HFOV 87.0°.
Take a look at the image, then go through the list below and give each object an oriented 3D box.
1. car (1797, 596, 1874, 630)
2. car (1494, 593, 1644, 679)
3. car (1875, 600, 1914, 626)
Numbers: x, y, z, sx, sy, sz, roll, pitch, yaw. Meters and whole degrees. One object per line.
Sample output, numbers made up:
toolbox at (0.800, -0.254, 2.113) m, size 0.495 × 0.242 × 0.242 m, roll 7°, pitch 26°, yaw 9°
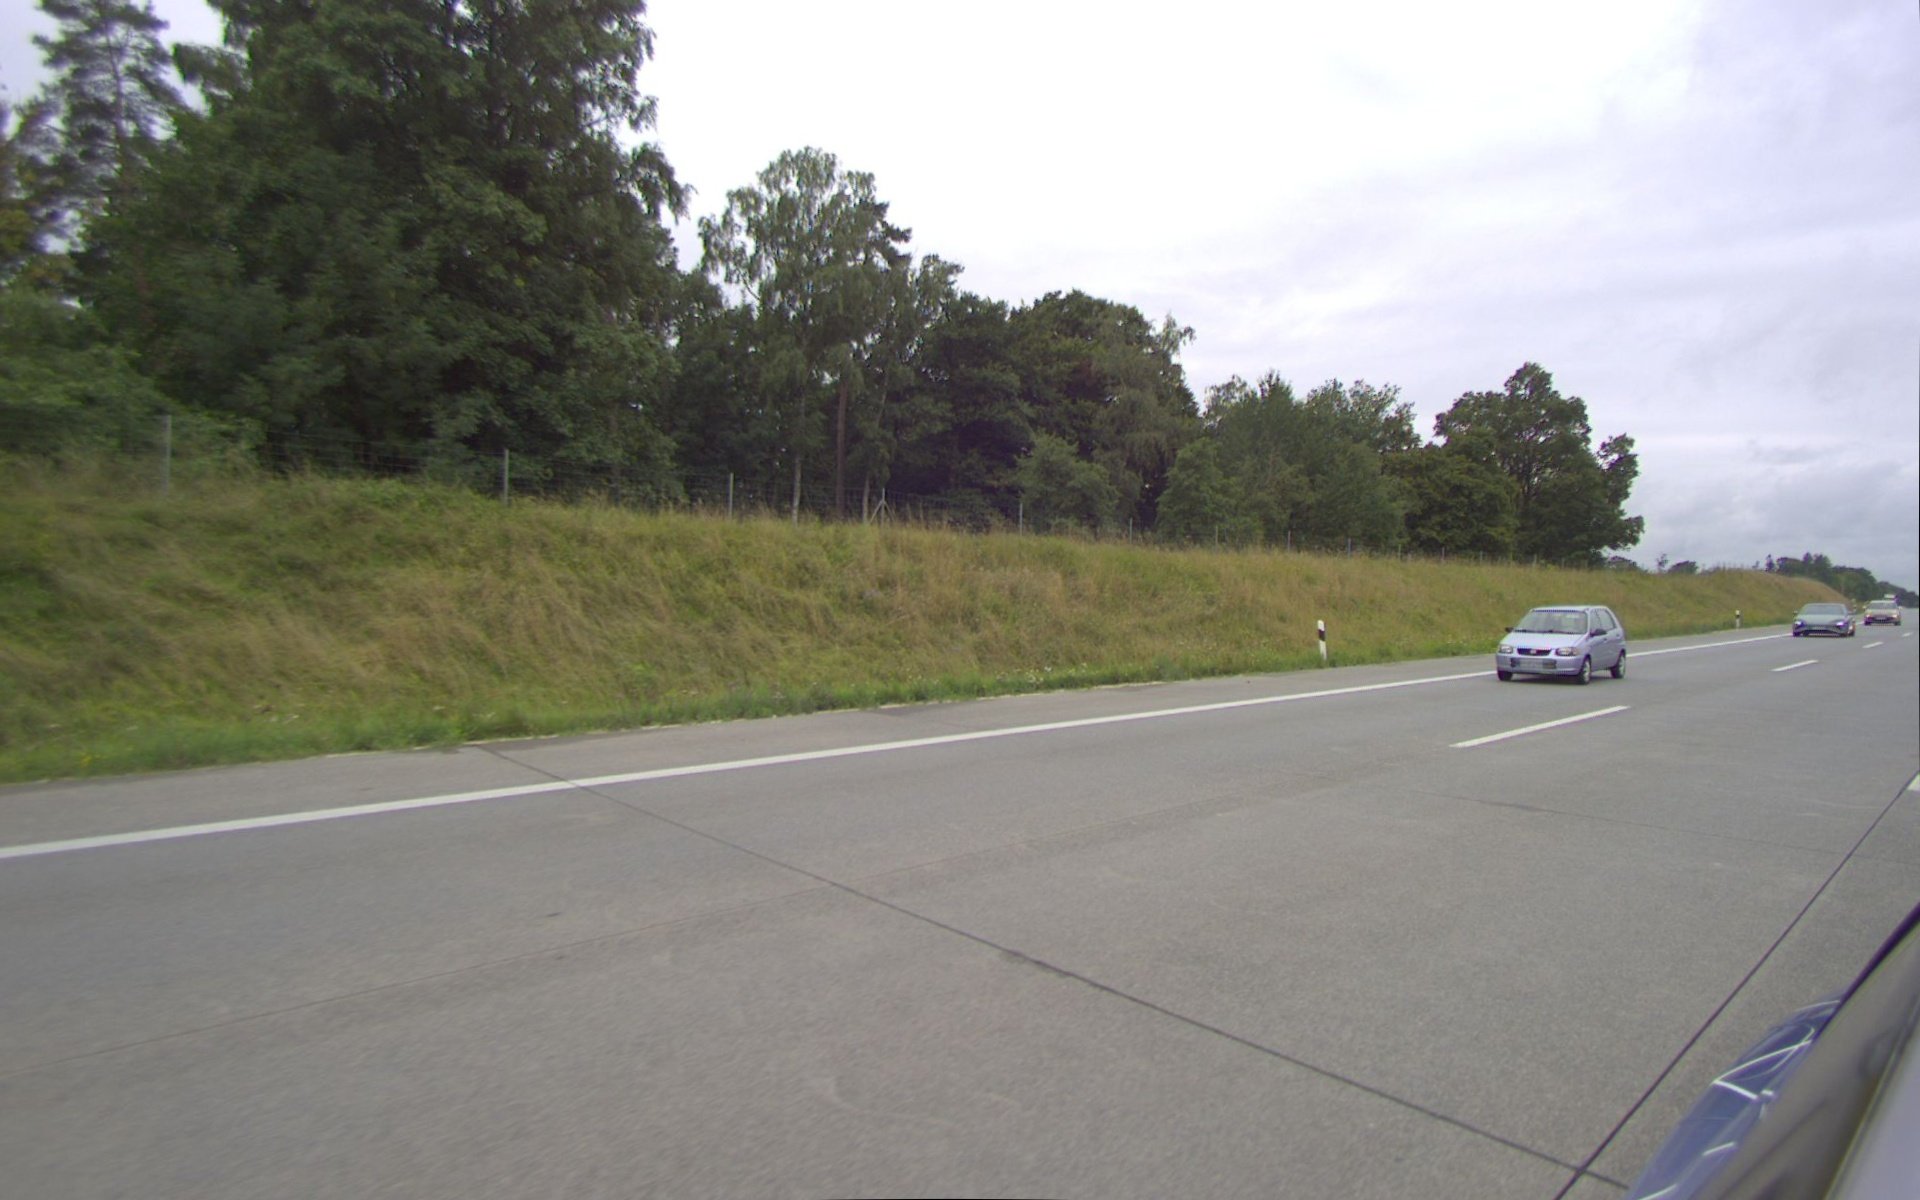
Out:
car at (39.057, 0.596, 45.105) m, size 4.662 × 1.464 × 2.017 m, roll 1°, pitch -1°, yaw -42°
car at (11.725, 0.650, 19.409) m, size 3.443 × 1.489 × 1.488 m, roll 1°, pitch 0°, yaw -42°
car at (62.669, 0.877, 67.914) m, size 1.785 × 1.624 × 4.499 m, roll 5°, pitch 2°, yaw 42°
